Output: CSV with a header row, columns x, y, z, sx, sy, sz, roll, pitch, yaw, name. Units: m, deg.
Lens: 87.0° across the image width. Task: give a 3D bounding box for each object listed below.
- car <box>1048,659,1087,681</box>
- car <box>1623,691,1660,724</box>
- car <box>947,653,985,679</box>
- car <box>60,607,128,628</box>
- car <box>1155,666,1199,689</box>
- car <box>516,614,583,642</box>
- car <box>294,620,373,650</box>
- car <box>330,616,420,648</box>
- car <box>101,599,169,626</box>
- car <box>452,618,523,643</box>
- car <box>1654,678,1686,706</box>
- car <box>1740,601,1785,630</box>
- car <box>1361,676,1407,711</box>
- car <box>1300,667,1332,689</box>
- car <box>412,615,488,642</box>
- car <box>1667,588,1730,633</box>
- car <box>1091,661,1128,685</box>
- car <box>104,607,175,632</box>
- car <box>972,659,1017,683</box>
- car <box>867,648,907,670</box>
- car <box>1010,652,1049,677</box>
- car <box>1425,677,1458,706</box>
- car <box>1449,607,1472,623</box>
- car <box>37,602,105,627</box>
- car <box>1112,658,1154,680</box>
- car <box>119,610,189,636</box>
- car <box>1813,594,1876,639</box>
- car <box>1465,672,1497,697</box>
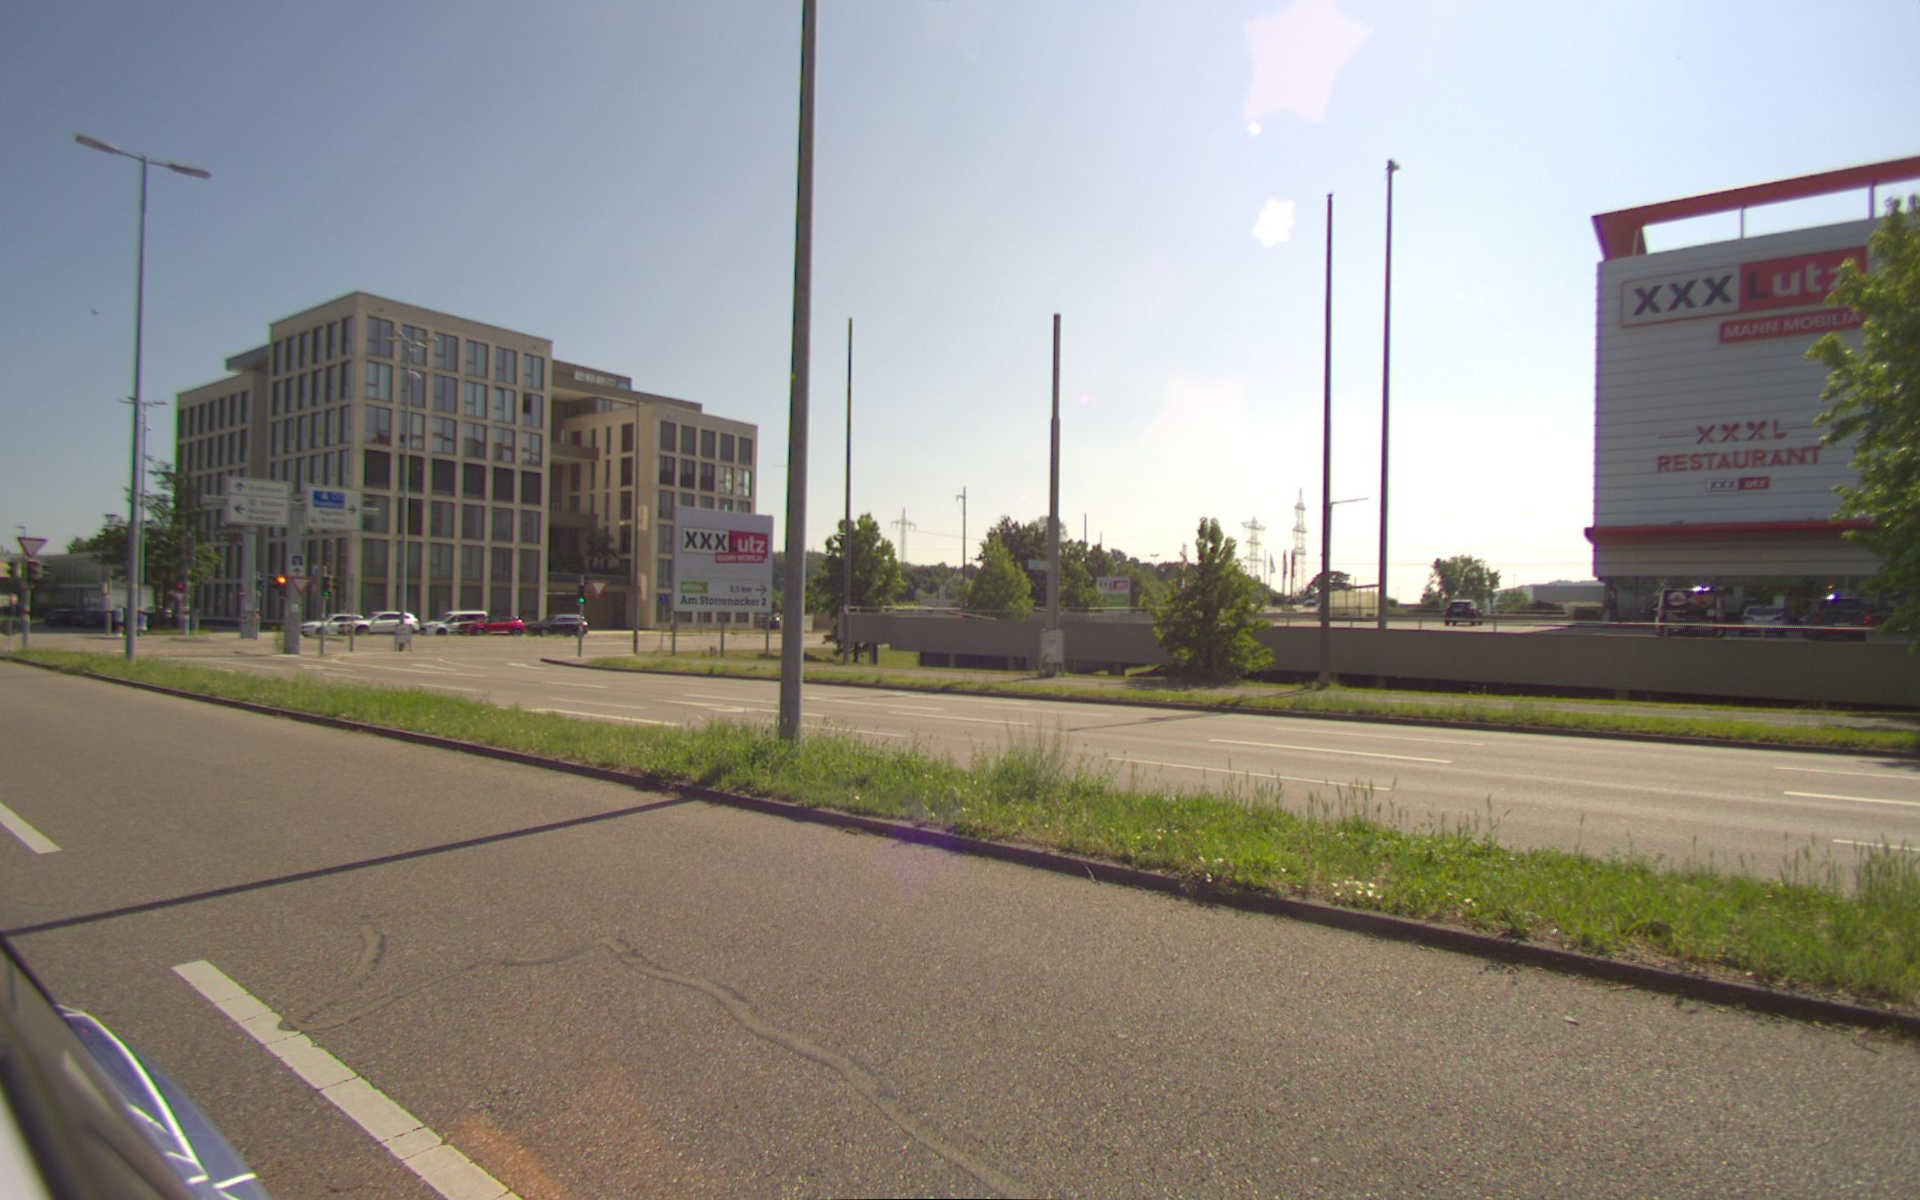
x,y,z,sx,sy,sz,roll,pitch,yaw,name
5.280,3.398,49.531,1.069,0.983,1.920,-1,-2,36,car
24.377,3.833,36.208,1.069,0.983,1.920,0,-1,34,car
0.237,2.531,38.980,0.790,0.889,1.488,1,0,34,car
-71.505,1.457,83.622,3.932,1.627,2.006,2,-2,-32,car
8.301,2.960,38.682,0.905,0.739,2.063,1,0,34,car
-29.896,2.006,73.790,1.832,1.903,4.189,1,0,38,car
-38.568,2.132,62.402,1.828,1.725,3.725,1,0,32,car
-35.385,1.910,61.298,2.021,1.851,4.263,1,0,33,car
-65.269,0.985,80.147,3.932,2.029,2.006,2,-2,-32,car
-31.182,2.005,66.905,1.527,1.539,4.071,0,-1,35,car
29.596,3.814,42.198,1.069,0.982,1.920,1,0,34,car
38.336,0.735,48.396,1.513,1.340,3.060,1,0,36,car
14.299,3.127,34.108,1.069,0.982,1.920,1,0,34,car
17.981,3.923,51.049,1.069,0.982,1.920,1,0,34,car
-34.322,1.928,68.158,1.900,1.724,4.181,0,-1,35,car
26.551,0.407,36.420,1.771,1.568,2.742,-1,-2,36,car
7.049,3.416,47.671,0.886,0.982,1.918,1,0,37,car
-62.634,1.476,77.304,3.932,1.841,2.006,2,-2,-32,car
1.531,3.087,44.161,1.069,1.016,1.919,-1,-3,36,car
-3.450,2.781,47.962,0.887,0.983,1.920,-1,-2,34,car
2.958,2.719,42.876,0.864,0.982,1.826,1,0,34,car
19.170,3.641,40.292,0.908,0.983,1.920,0,-1,34,car
31.975,0.937,64.666,1.069,0.982,1.920,1,0,34,car
-74.271,1.220,84.664,3.932,2.029,2.006,2,-2,-32,car
5.912,2.353,34.573,0.856,0.625,1.546,1,0,34,car
-59.980,1.710,75.383,3.935,1.751,2.004,3,-1,-38,car
36.612,0.665,41.956,1.689,1.771,3.060,1,0,36,car
23.920,3.868,46.468,1.069,0.982,1.920,1,0,34,car
